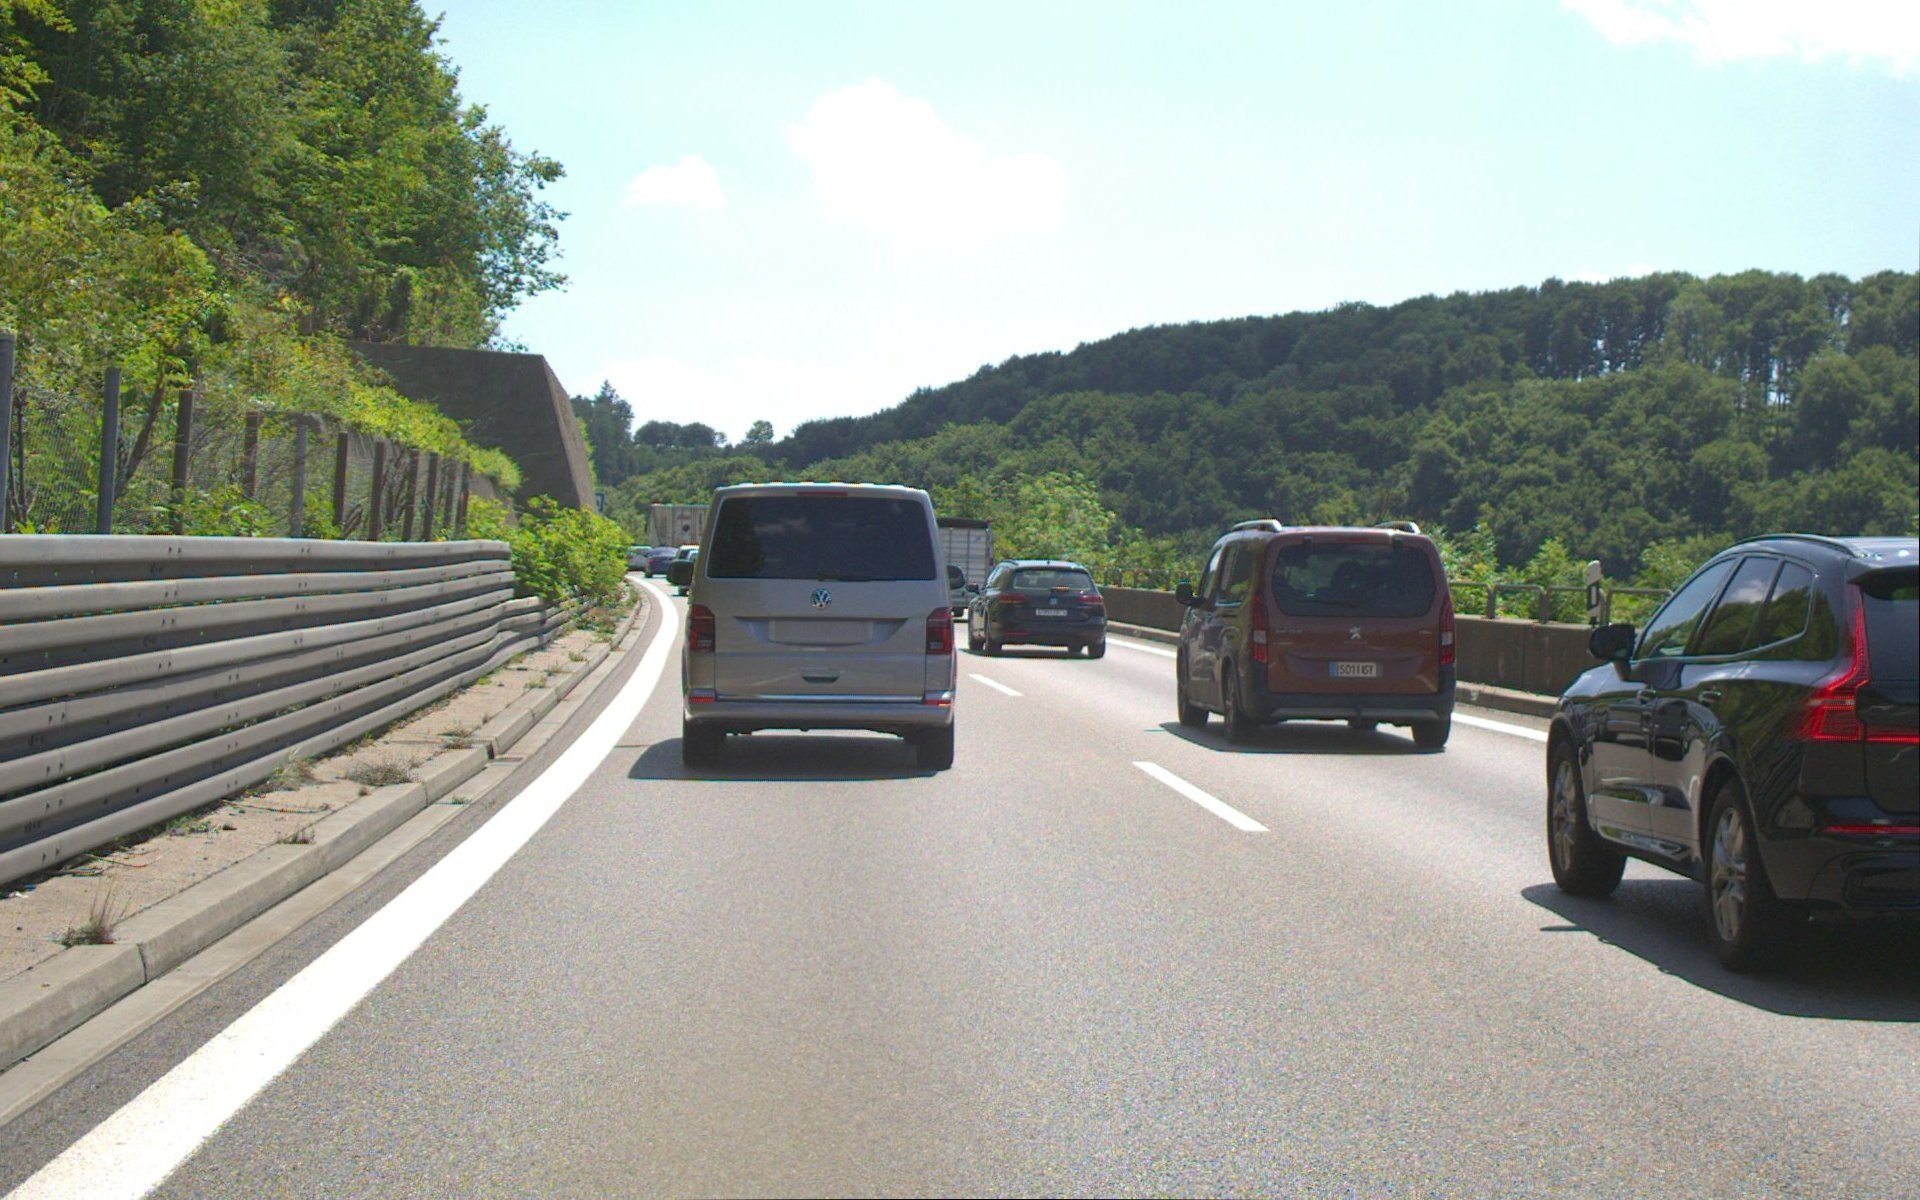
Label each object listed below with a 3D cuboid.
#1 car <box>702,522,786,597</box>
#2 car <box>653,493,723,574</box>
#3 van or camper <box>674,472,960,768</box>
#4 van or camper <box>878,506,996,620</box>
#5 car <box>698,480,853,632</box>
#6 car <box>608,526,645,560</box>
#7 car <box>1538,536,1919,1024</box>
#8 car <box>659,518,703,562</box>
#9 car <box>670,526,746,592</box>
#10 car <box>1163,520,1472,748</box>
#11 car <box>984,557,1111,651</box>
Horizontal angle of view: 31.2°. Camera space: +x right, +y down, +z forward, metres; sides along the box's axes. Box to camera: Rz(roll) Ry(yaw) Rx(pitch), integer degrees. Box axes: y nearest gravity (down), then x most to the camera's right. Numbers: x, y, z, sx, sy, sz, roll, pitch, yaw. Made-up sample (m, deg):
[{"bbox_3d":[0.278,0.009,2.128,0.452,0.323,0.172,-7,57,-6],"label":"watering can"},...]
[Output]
[{"bbox_3d":[-5.459,-1.035,86.529,1.993,1.811,4.001,1,1,-5],"label":"car"},{"bbox_3d":[-16.735,-4.081,212.138,4.043,4.855,10.110,0,1,-3],"label":"car"},{"bbox_3d":[-1.086,0.116,24.844,1.875,1.943,4.294,0,0,-4],"label":"van or camper"},{"bbox_3d":[-0.576,-0.869,79.480,2.263,2.542,4.737,0,1,-6],"label":"van or camper"},{"bbox_3d":[-2.518,-0.612,47.740,1.993,2.007,4.000,0,1,-1],"label":"car"},{"bbox_3d":[-17.428,-3.002,179.700,1.845,1.744,4.001,1,1,-5],"label":"car"},{"bbox_3d":[3.675,0.565,13.799,1.834,1.628,4.663,0,1,-1],"label":"car"},{"bbox_3d":[-13.098,-2.824,161.772,1.993,2.007,4.001,0,0,-4],"label":"car"},{"bbox_3d":[-7.547,-1.239,102.613,1.993,1.908,4.001,1,1,-7],"label":"car"},{"bbox_3d":[2.950,0.248,29.366,1.833,1.778,4.676,0,0,-4],"label":"car"},{"bbox_3d":[1.301,0.038,52.501,1.768,1.371,3.593,0,1,-1],"label":"car"}]
